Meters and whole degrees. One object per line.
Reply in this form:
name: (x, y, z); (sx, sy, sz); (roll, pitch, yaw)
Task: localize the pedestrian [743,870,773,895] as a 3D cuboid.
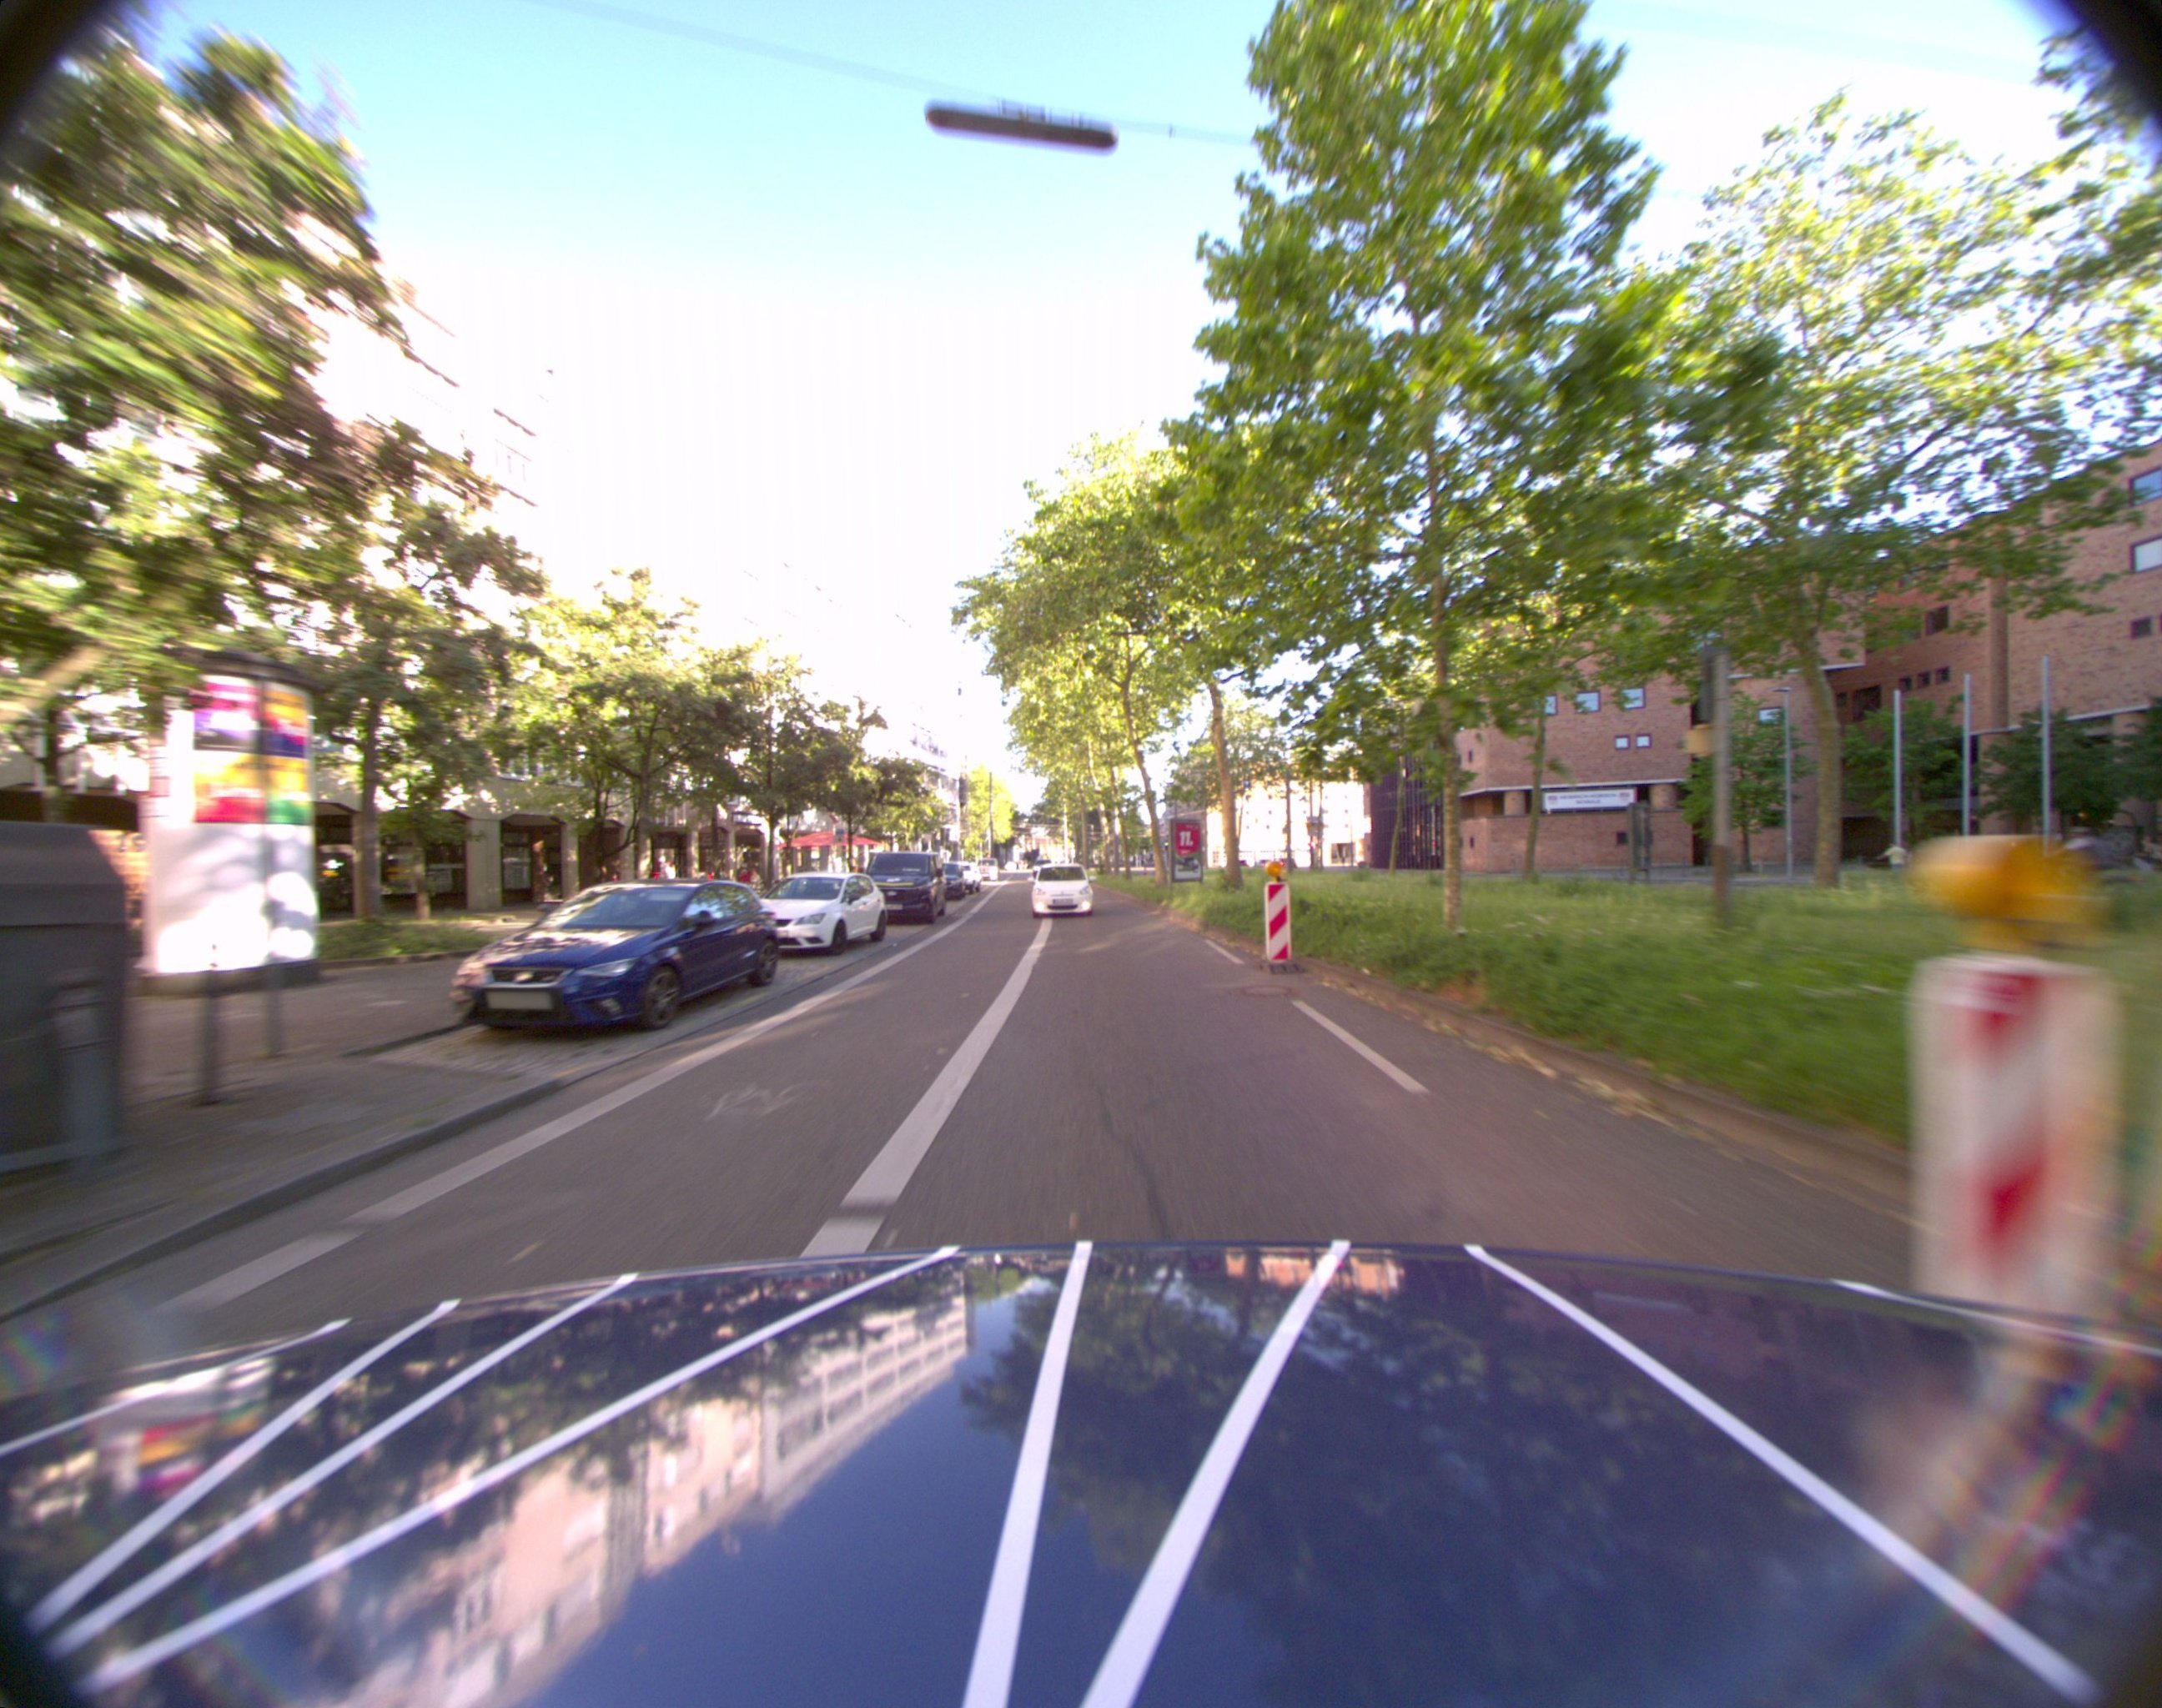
pedestrian: (-15.845, 1.387, 37.301); (0.887, 1.205, 1.124); (-1, 0, 7)

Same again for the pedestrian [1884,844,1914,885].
pedestrian: (30.992, 0.397, 28.791); (0.417, 1.534, 0.653); (-1, 0, 8)

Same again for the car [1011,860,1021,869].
car: (-12.672, 2.093, 147.432); (1.866, 1.724, 4.017); (-1, 0, -4)

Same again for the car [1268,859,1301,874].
car: (19.014, 1.163, 71.231); (1.675, 1.420, 4.148); (-1, 0, -4)

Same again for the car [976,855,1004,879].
car: (-7.520, 1.064, 62.886); (1.922, 1.893, 4.860); (1, -1, -3)

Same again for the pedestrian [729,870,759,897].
pedestrian: (-15.859, 1.387, 35.770); (0.931, 1.243, 0.968); (-1, 0, 0)

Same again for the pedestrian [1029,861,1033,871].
pedestrian: (-9.867, 2.379, 149.460); (0.654, 2.002, 0.742); (-1, 0, -4)

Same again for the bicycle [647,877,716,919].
bicycle: (-12.047, 1.313, 22.966); (0.484, 1.147, 1.915); (-1, 0, 24)

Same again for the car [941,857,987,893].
car: (-5.966, 1.060, 39.146); (1.803, 1.714, 4.459); (1, -1, -2)

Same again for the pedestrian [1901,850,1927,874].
pedestrian: (42.167, 0.408, 38.481); (0.666, 1.191, 0.630); (-1, 0, -13)

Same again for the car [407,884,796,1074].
car: (-4.880, 1.147, 8.594); (1.706, 1.475, 4.248); (0, 0, 0)

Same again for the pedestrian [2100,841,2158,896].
pedestrian: (31.259, 0.425, 22.675); (0.666, 1.607, 0.756); (-1, 0, -4)

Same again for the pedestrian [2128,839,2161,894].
pedestrian: (32.132, 0.367, 22.690); (0.665, 1.607, 0.756); (-1, 0, -2)

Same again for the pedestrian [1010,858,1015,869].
pedestrian: (-12.961, 1.744, 142.959); (0.645, 2.002, 0.657); (-1, 0, 30)

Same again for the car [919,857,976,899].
car: (-5.753, 1.002, 33.286); (1.803, 1.714, 4.574); (1, -1, -2)

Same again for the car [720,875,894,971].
car: (-4.918, 1.167, 14.296); (1.706, 1.456, 4.175); (0, 0, 1)

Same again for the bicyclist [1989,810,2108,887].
bicyclist: (20.377, -0.109, 16.036); (0.944, 1.561, 1.209); (-1, 0, -2)

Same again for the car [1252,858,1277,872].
car: (18.680, 1.139, 77.540); (1.617, 1.420, 3.221); (-1, 0, -4)

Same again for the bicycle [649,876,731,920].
bicycle: (-11.532, 1.279, 22.483); (0.654, 1.180, 2.188); (-1, 0, 24)

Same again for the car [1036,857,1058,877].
car: (-3.014, 1.143, 66.836); (1.824, 1.630, 3.999); (-1, 0, -3)

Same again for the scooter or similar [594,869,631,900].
scooter or similar: (-20.046, 1.295, 32.531); (0.667, 1.248, 1.363); (-1, 0, 4)

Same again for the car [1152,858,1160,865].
car: (20.403, 2.068, 205.928); (1.703, 1.641, 4.000); (-1, 0, 0)

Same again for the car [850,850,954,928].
car: (-4.879, 0.900, 21.456); (2.043, 1.932, 5.196); (1, -1, -4)

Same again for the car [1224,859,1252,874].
car: (15.569, 1.274, 75.672); (1.617, 1.420, 4.148); (-1, 0, -4)

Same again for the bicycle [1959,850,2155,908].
bicycle: (20.382, 0.478, 15.984); (0.959, 1.119, 2.435); (-1, 0, -2)

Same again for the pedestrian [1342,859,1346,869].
pedestrian: (38.382, 1.502, 110.738); (0.566, 1.495, 0.512); (-1, -2, 19)

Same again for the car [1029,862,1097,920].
car: (-0.434, 1.020, 22.443); (1.720, 1.442, 4.425); (-4, -1, 1)
